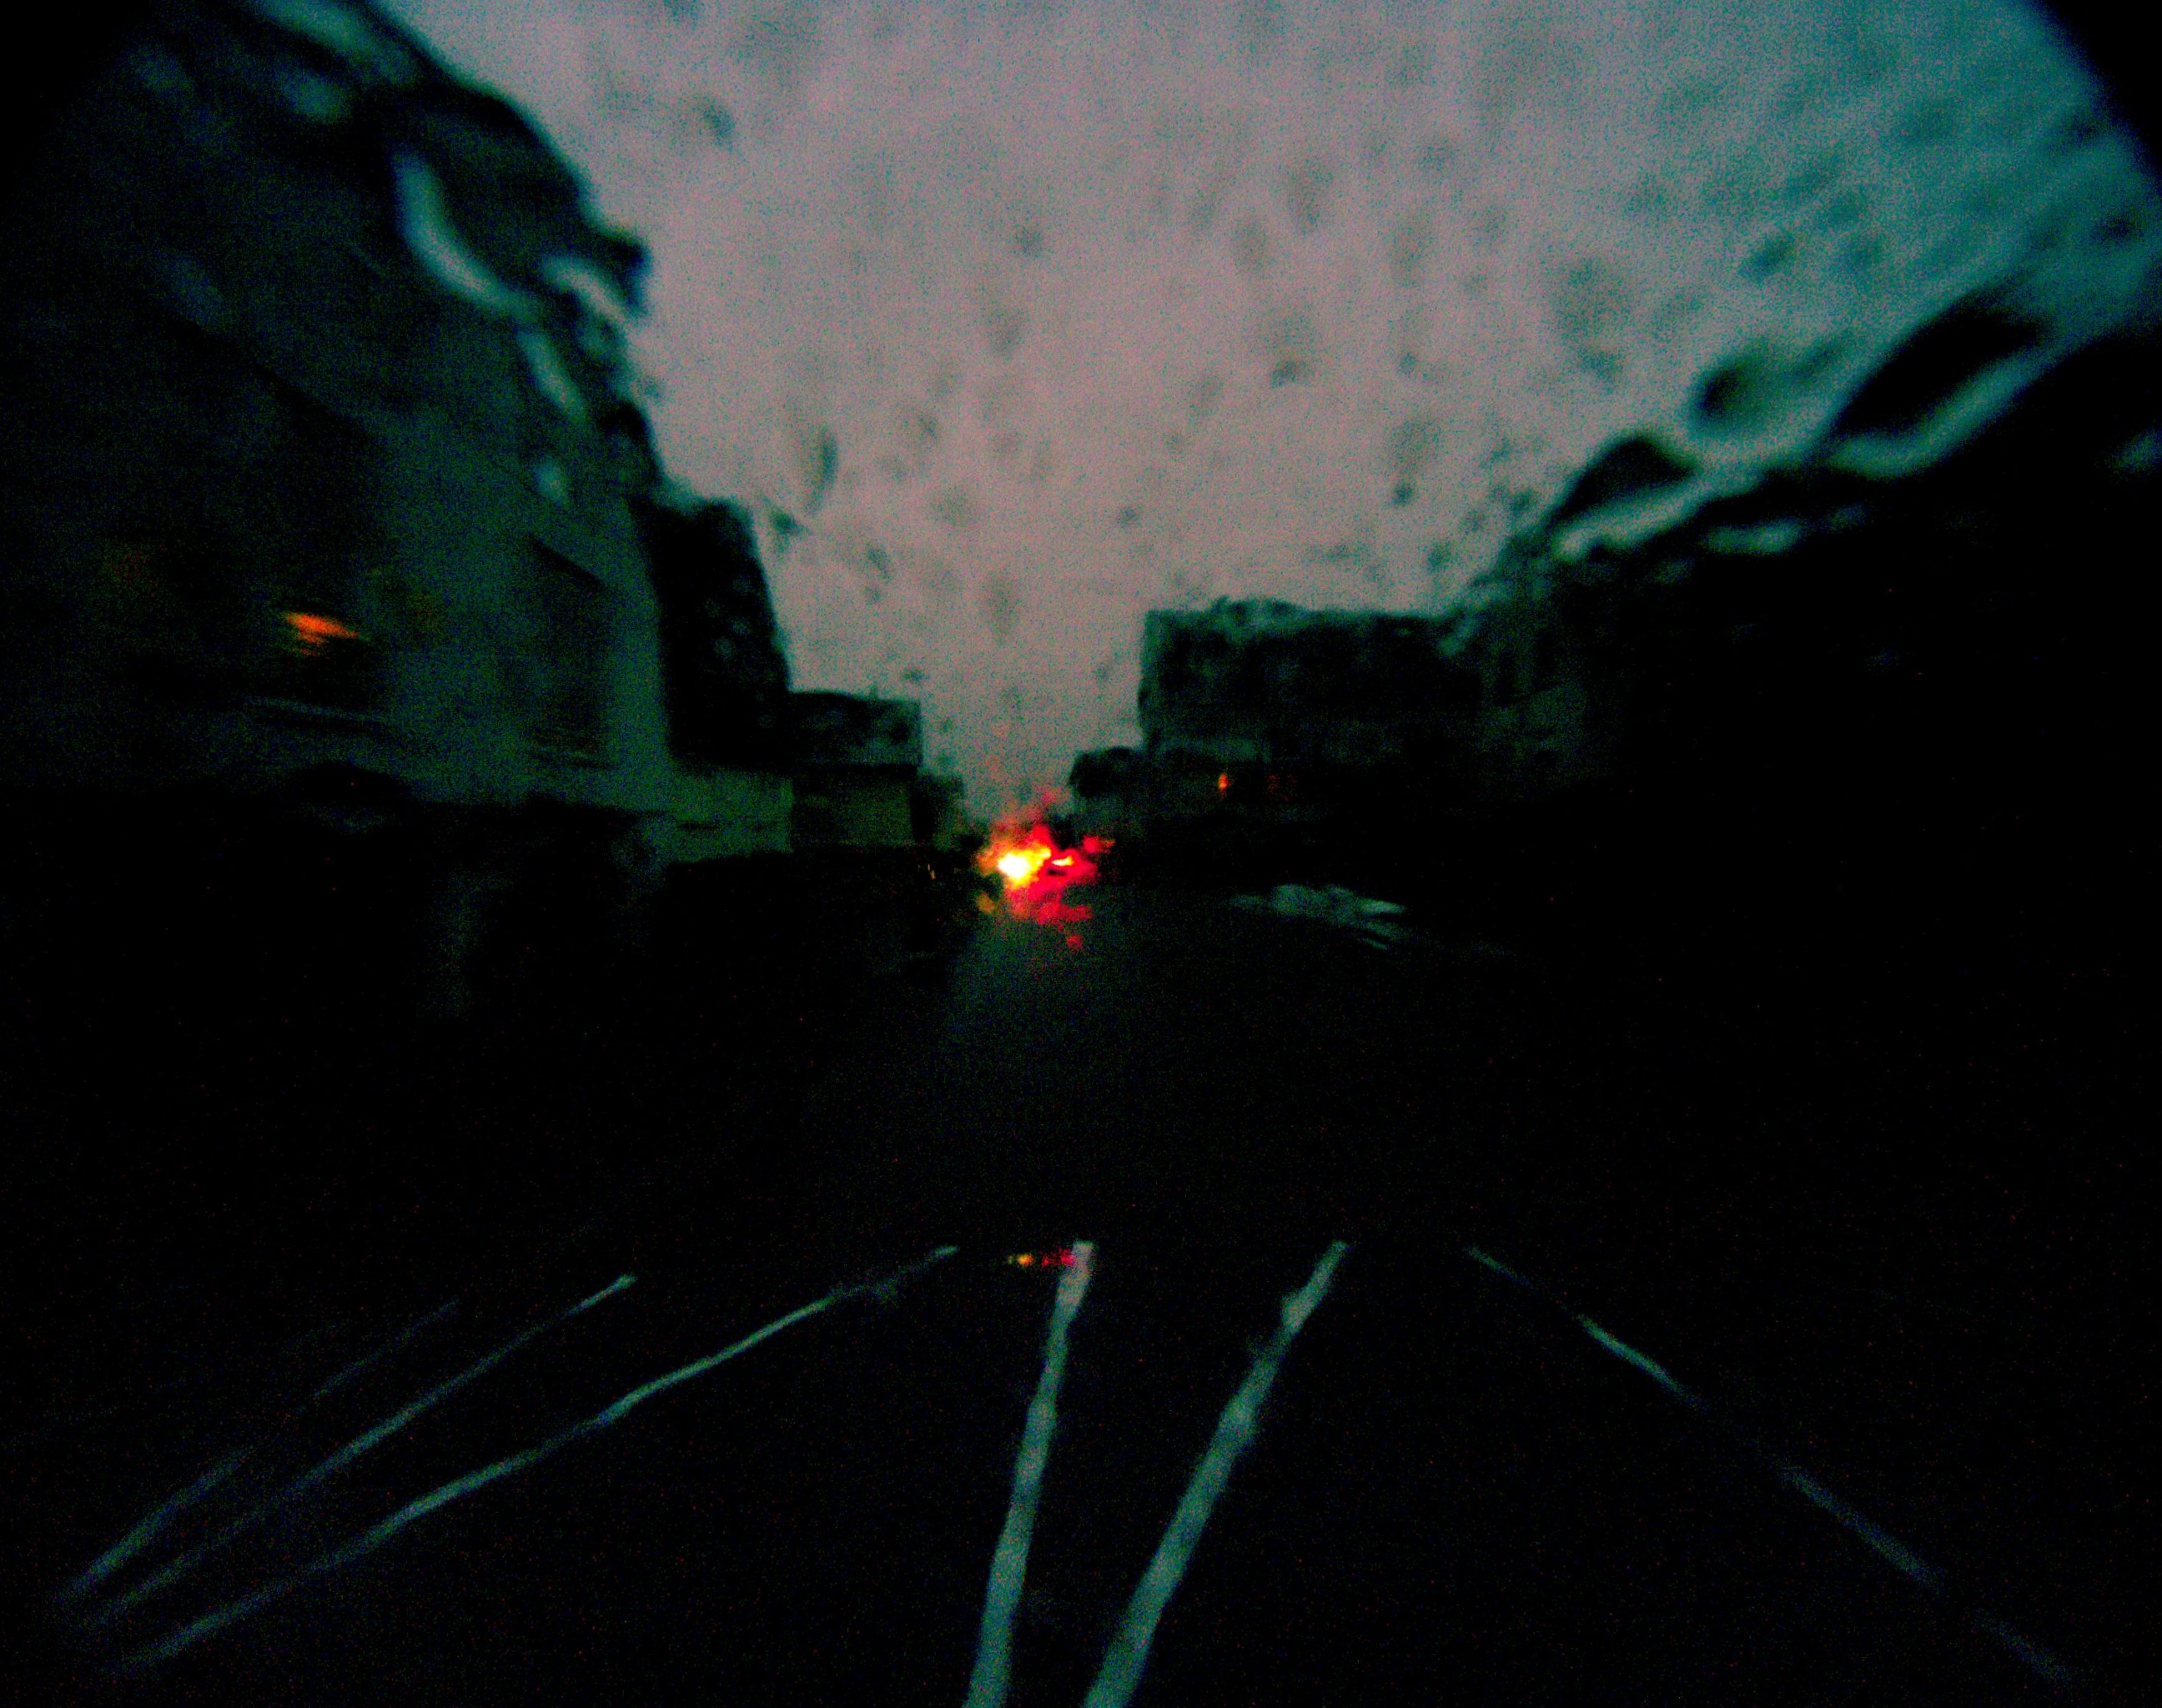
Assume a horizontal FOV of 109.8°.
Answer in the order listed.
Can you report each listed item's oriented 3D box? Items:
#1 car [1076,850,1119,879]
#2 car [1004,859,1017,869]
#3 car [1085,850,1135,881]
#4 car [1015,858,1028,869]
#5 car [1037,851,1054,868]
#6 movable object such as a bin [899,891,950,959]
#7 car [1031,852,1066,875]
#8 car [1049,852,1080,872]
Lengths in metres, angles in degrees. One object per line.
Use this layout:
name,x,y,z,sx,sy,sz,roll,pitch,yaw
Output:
car,0.843,0.524,40.371,1.670,1.409,3.688,-2,0,-8
car,-9.986,1.409,107.857,1.757,1.486,4.249,1,0,-3
car,1.317,0.535,36.180,1.673,1.401,3.911,0,0,-8
car,-10.089,1.572,128.616,1.794,1.763,3.889,1,0,1
car,-3.938,0.588,83.336,1.776,1.781,4.127,1,-1,-4
movable object such as a bin,-2.383,1.069,11.619,0.616,0.941,0.594,3,2,-1
car,-2.222,0.612,50.771,1.779,1.486,4.376,1,0,-10
car,-1.293,0.616,57.232,1.739,1.435,4.436,0,0,-9
